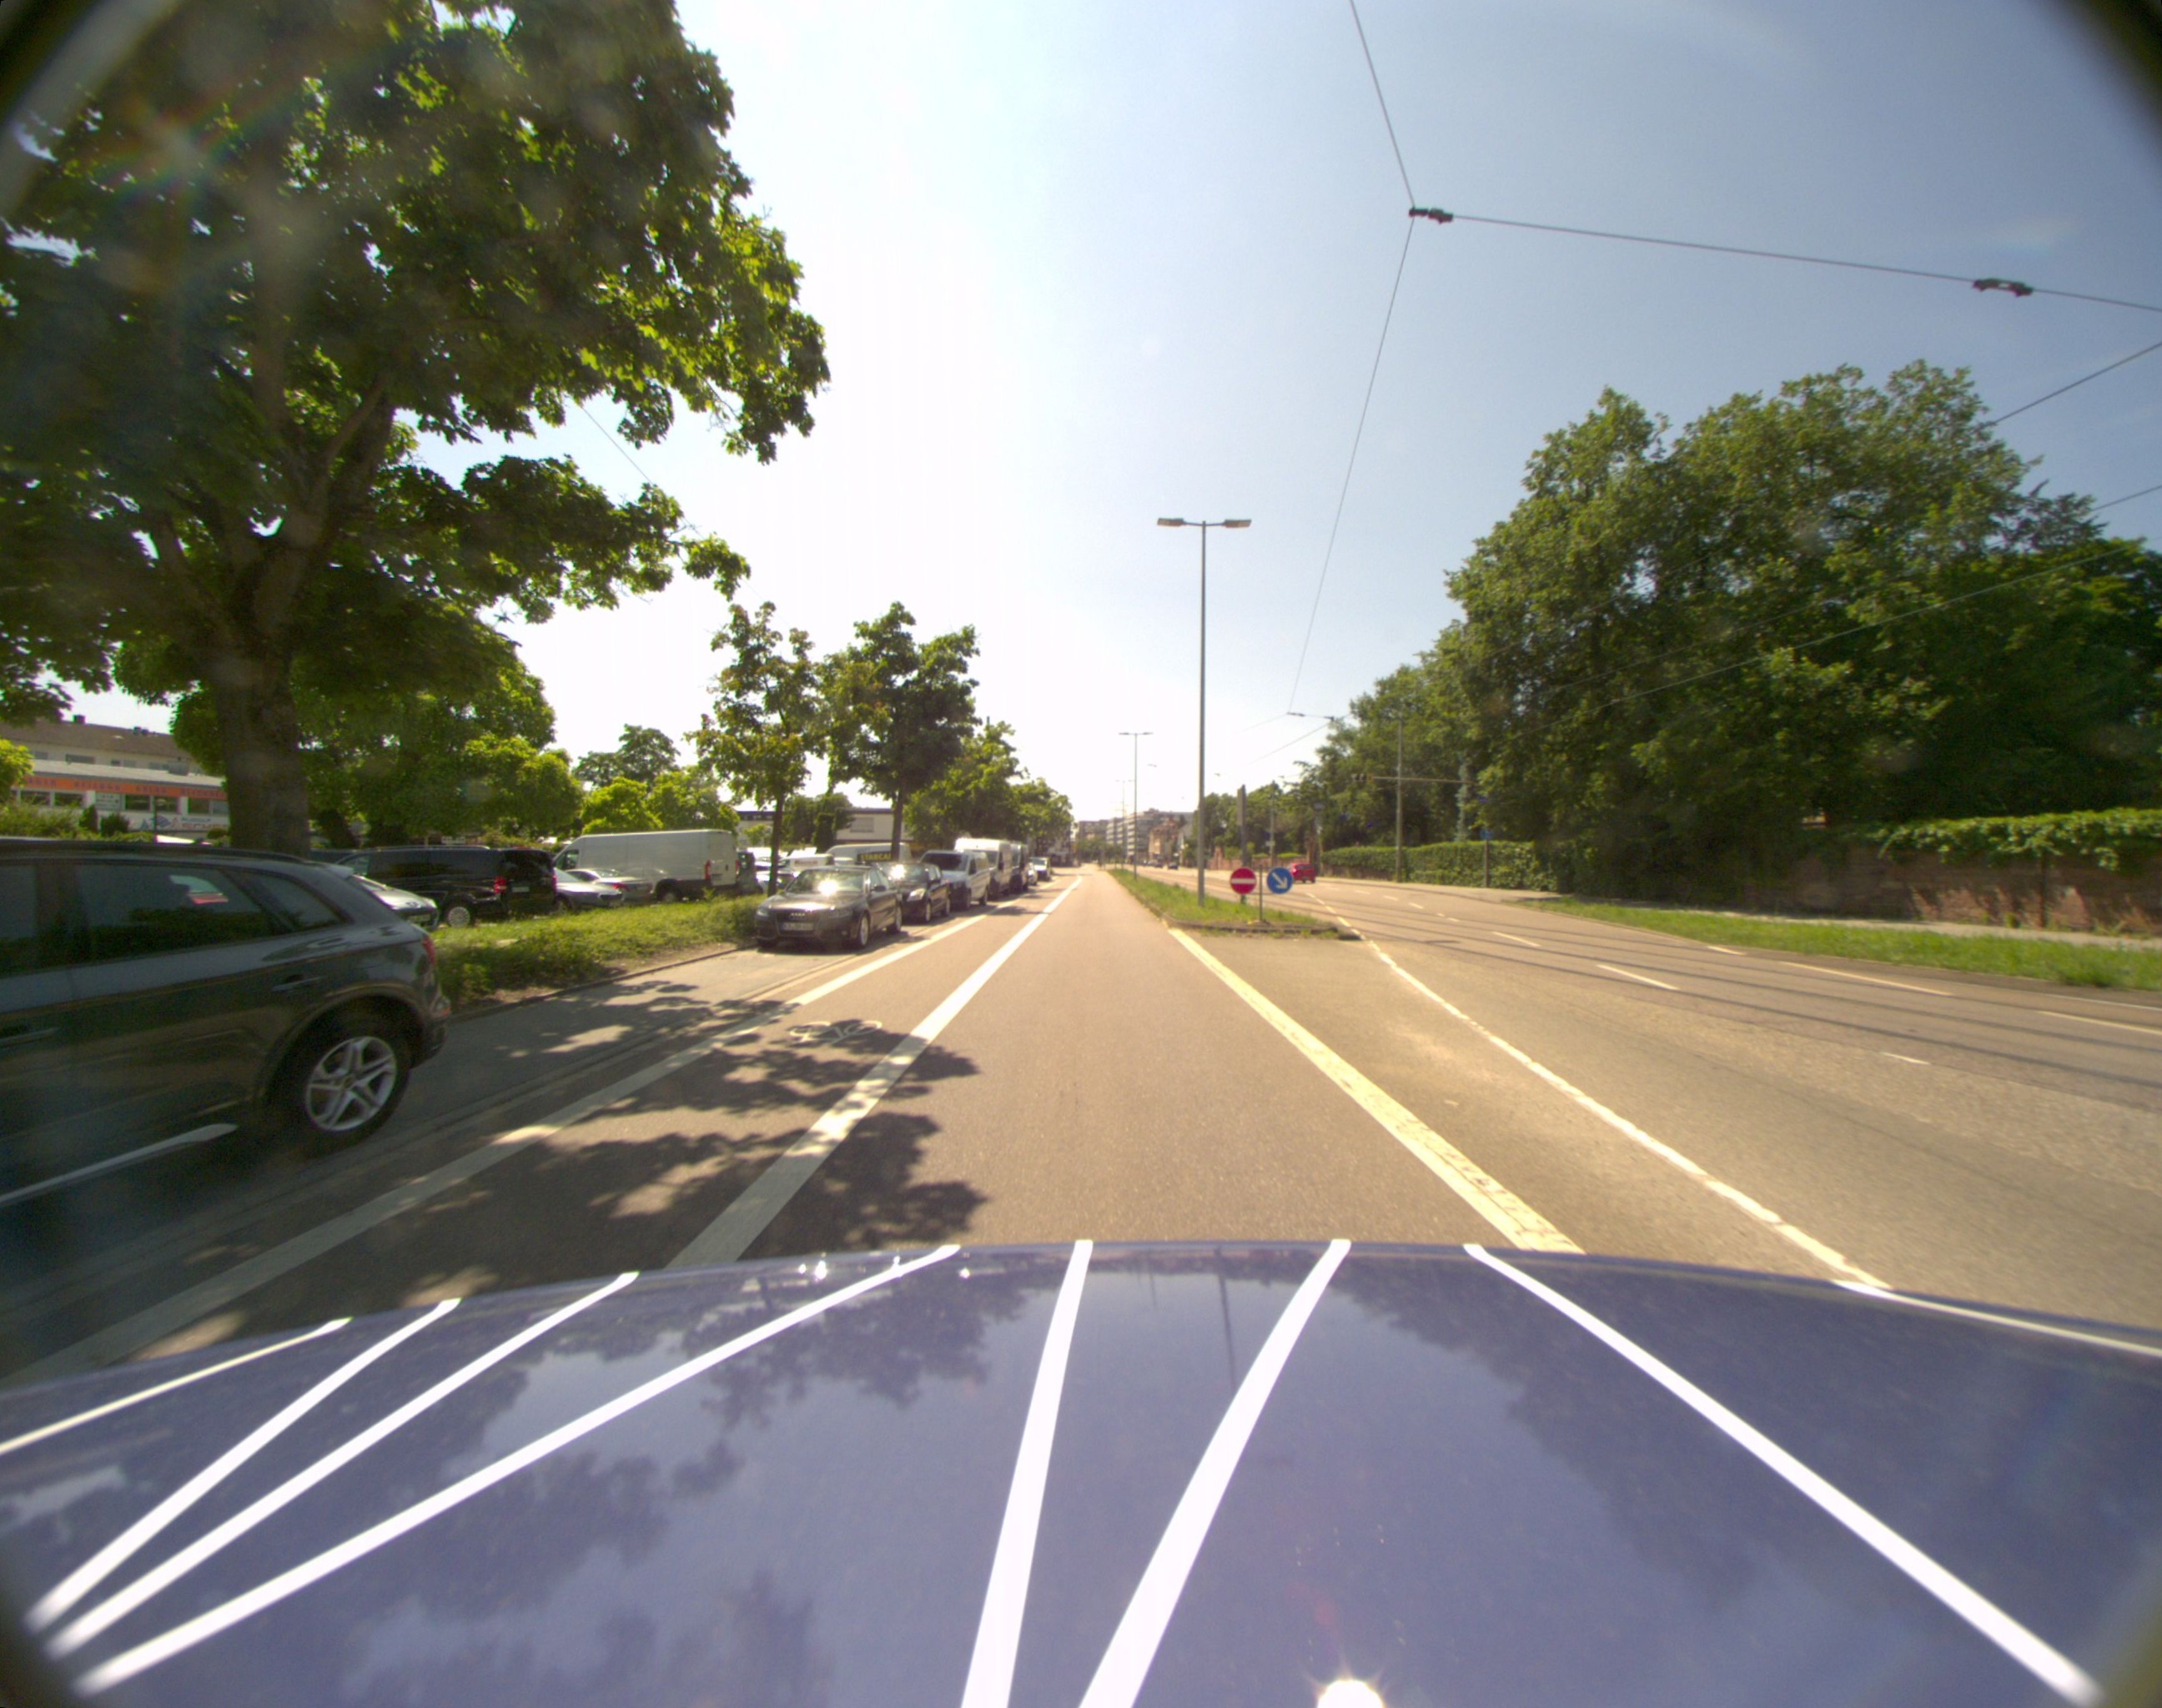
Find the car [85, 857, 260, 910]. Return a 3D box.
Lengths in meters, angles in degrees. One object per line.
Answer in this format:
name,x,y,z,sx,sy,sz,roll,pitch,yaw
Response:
car,-27.210,0.848,22.820,3.342,1.420,1.682,2,0,3

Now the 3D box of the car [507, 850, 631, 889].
car,-26.820,0.801,39.925,5.108,1.865,2.095,2,0,2

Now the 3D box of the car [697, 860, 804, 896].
car,-14.505,1.017,33.501,3.896,1.397,1.727,-2,0,-1

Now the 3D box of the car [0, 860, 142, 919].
car,-27.949,0.909,20.466,3.342,1.420,1.682,2,0,3

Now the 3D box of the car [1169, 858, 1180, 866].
car,17.954,1.515,145.873,1.760,1.440,4.124,-2,0,3

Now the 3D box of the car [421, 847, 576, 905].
car,-26.673,0.986,34.903,5.503,2.445,2.095,2,0,2

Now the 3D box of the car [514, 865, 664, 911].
car,-14.522,0.991,22.555,3.342,1.182,1.682,-2,0,2

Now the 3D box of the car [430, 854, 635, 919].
car,-14.306,0.814,19.985,4.031,1.482,1.770,-2,0,-1

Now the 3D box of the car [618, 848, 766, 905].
car,-14.412,0.804,28.336,4.418,1.898,1.954,-2,0,-3

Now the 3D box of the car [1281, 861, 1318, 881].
car,16.042,1.207,56.030,1.710,1.405,4.282,0,0,3

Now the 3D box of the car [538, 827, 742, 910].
car,-14.539,0.475,25.282,5.503,2.445,2.095,-2,0,2

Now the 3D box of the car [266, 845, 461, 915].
car,-27.213,0.951,28.943,5.503,2.445,2.095,2,0,2

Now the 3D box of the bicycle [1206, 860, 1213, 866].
bicycle,21.601,1.445,127.666,0.654,0.951,2.114,0,0,-1

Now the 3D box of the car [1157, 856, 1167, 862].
car,18.938,1.214,177.557,1.845,1.408,5.034,-3,0,1

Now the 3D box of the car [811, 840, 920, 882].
car,-14.088,0.452,49.933,6.355,2.514,2.264,-2,0,4

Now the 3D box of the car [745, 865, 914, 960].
car,-4.581,0.976,14.646,1.717,1.410,4.708,2,0,-1

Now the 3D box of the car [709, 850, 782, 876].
car,-26.752,0.731,60.634,4.929,1.889,1.909,2,0,0

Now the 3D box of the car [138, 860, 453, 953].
car,-14.673,0.943,14.384,4.031,1.482,1.770,-2,0,-1

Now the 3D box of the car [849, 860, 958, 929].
car,-4.487,0.966,19.752,1.716,1.532,3.841,2,0,3

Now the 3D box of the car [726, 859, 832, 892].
car,-14.335,0.999,36.221,4.287,1.397,1.727,-2,0,-1

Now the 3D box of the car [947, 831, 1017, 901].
car,-4.084,0.478,32.402,2.002,2.621,6.143,2,0,1

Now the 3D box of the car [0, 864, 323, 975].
car,-14.801,0.978,11.884,4.031,1.482,1.770,-2,0,-1

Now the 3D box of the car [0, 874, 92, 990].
car,-15.076,1.039,9.455,3.342,1.420,1.682,-2,0,2

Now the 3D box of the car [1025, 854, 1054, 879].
car,-3.337,0.978,61.913,1.884,1.905,5.125,2,0,2

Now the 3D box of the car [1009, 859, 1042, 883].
car,-3.650,1.102,50.375,1.726,1.419,4.209,2,0,1

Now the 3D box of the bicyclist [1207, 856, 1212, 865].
bicyclist,21.601,1.101,127.692,0.654,1.488,0.662,0,0,-1

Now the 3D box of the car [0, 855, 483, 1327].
car,-4.765,0.879,2.558,1.716,1.623,4.708,2,1,1

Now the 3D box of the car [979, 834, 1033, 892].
car,-3.717,0.435,38.952,2.002,2.621,6.079,2,0,1

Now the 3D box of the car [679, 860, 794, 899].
car,-14.091,1.027,31.227,3.897,1.397,1.727,-2,0,-4

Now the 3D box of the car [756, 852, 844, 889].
car,-14.511,0.836,39.357,3.790,1.773,1.954,-2,0,-3

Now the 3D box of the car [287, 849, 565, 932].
car,-14.878,0.793,17.453,4.703,1.635,1.954,-2,0,2

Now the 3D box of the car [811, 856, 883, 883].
car,-14.441,0.952,47.095,3.896,1.463,1.727,-2,0,-1

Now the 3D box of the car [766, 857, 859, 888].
car,-14.745,1.015,41.955,4.418,1.496,1.954,-2,0,-2

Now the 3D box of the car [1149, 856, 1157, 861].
car,19.919,1.235,210.433,1.845,1.408,4.711,-3,0,1

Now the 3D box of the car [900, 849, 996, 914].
car,-4.294,0.827,25.466,2.002,1.867,5.277,2,0,3

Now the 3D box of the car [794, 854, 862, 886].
car,-14.840,0.937,44.662,3.380,1.707,1.728,-2,0,1
